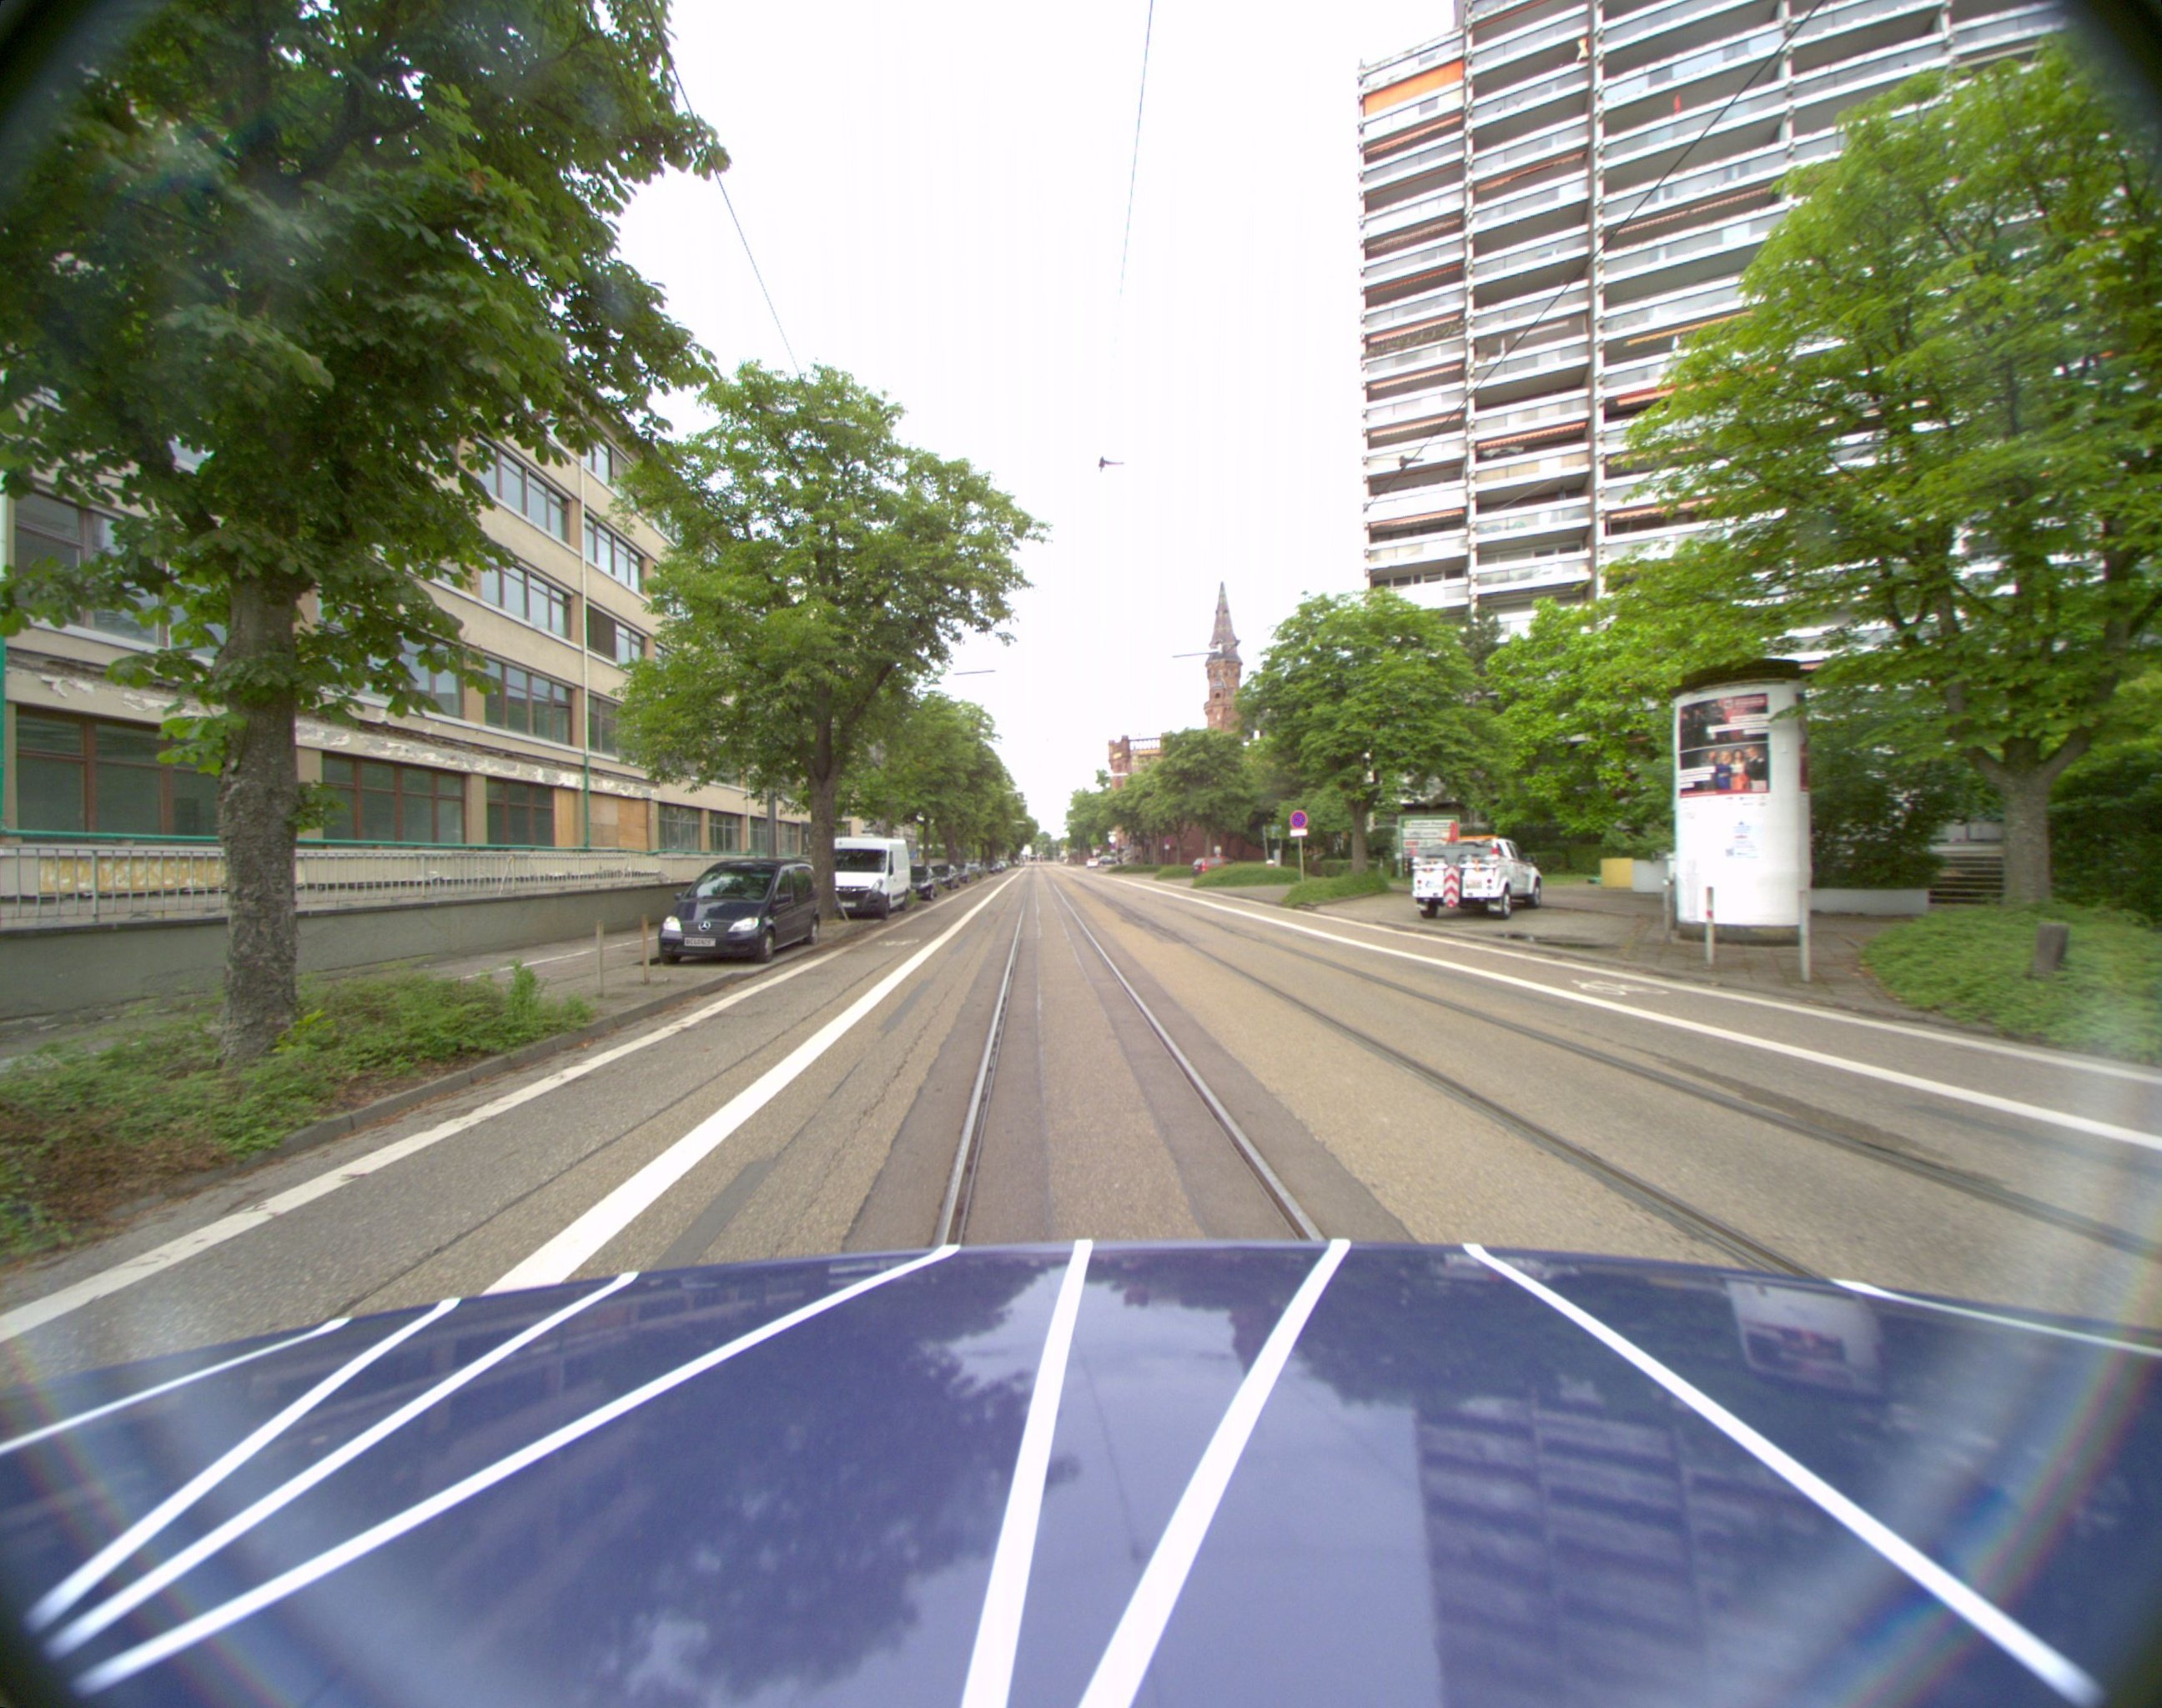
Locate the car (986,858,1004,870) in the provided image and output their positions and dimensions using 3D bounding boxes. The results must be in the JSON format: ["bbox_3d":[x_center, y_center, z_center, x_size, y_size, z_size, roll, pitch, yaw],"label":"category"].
[{"bbox_3d":[-11.099,1.249,98.293,1.999,1.452,4.391,-2,0,-4],"label":"car"}]

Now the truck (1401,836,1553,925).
[{"bbox_3d":[9.698,0.539,18.382,1.994,1.838,5.074,-1,0,42],"label":"truck"}]

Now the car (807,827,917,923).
[{"bbox_3d":[-6.663,0.578,23.821,2.118,2.587,5.490,-2,0,-4],"label":"car"}]

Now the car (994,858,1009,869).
[{"bbox_3d":[-11.712,1.348,112.180,1.999,1.452,4.391,-2,0,-4],"label":"car"}]

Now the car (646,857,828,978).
[{"bbox_3d":[-6.095,1.009,14.029,1.658,1.802,4.082,-2,1,-4],"label":"car"}]

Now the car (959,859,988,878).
[{"bbox_3d":[-9.004,1.200,63.783,1.999,1.452,4.391,-2,0,-4],"label":"car"}]

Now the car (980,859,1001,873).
[{"bbox_3d":[-10.276,1.366,86.639,1.999,1.452,4.391,-2,0,-4],"label":"car"}]

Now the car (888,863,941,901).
[{"bbox_3d":[-7.198,1.180,33.188,1.826,1.491,4.103,1,0,-7],"label":"car"}]

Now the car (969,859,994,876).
[{"bbox_3d":[-9.359,1.270,71.822,1.999,1.452,4.391,-2,0,-4],"label":"car"}]

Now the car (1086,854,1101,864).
[{"bbox_3d":[1.914,0.802,119.432,1.999,1.521,3.998,-1,0,-4],"label":"car"}]

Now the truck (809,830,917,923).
[{"bbox_3d":[-6.660,0.635,23.889,2.118,2.587,5.490,0,0,-4],"label":"truck"}]

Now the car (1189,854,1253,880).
[{"bbox_3d":[8.551,0.774,46.511,3.505,1.369,1.632,-2,1,-17],"label":"car"}]

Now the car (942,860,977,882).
[{"bbox_3d":[-8.670,1.166,54.559,1.999,1.452,4.391,-2,0,-4],"label":"car"}]

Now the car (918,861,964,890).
[{"bbox_3d":[-7.779,1.180,42.572,1.999,1.452,4.391,-2,0,-4],"label":"car"}]
